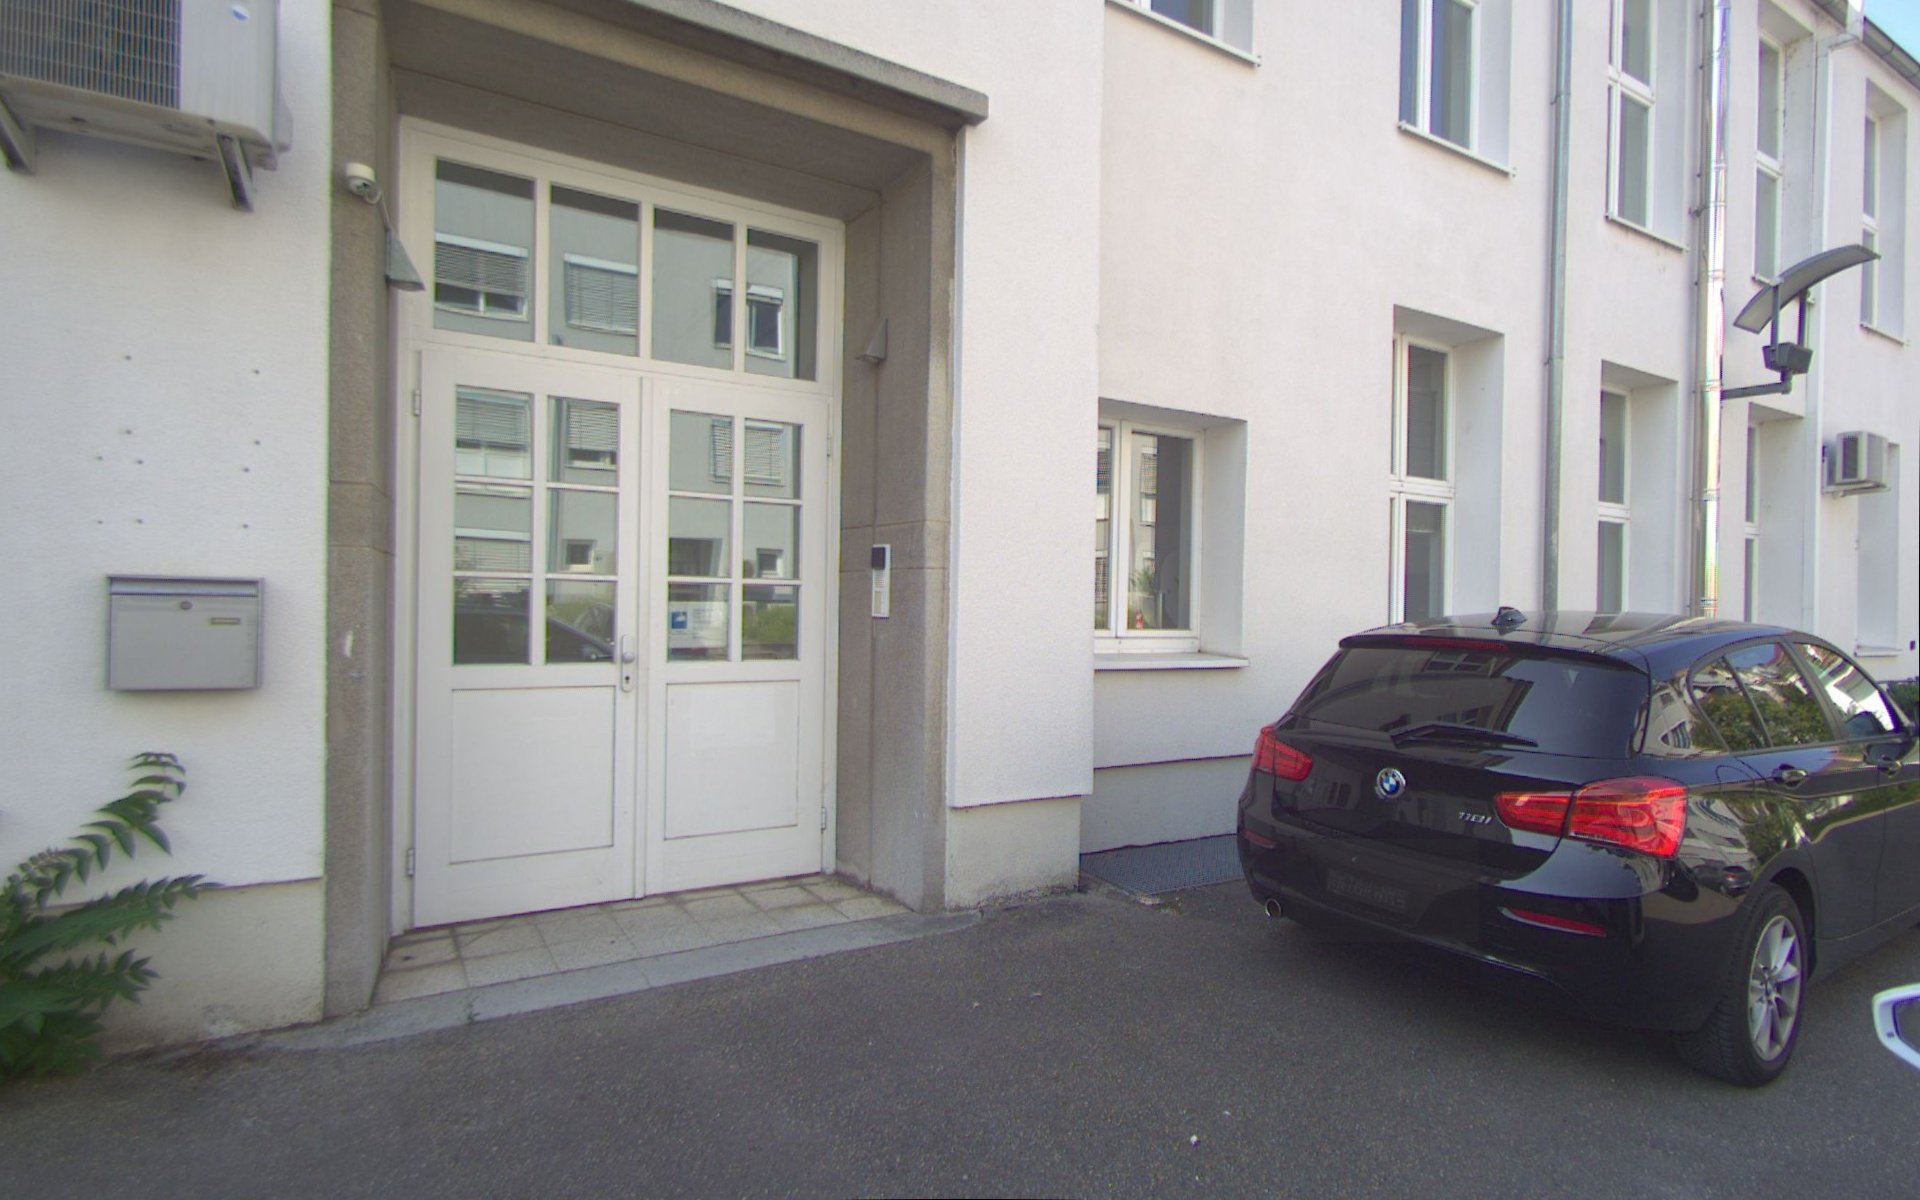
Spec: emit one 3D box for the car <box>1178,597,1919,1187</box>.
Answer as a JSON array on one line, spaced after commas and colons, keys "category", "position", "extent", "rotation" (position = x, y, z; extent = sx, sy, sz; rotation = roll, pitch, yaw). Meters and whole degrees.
[{"category": "car", "position": [2.947, 0.784, 4.308], "extent": [3.881, 1.478, 1.678], "rotation": [2, 0, -33]}]
